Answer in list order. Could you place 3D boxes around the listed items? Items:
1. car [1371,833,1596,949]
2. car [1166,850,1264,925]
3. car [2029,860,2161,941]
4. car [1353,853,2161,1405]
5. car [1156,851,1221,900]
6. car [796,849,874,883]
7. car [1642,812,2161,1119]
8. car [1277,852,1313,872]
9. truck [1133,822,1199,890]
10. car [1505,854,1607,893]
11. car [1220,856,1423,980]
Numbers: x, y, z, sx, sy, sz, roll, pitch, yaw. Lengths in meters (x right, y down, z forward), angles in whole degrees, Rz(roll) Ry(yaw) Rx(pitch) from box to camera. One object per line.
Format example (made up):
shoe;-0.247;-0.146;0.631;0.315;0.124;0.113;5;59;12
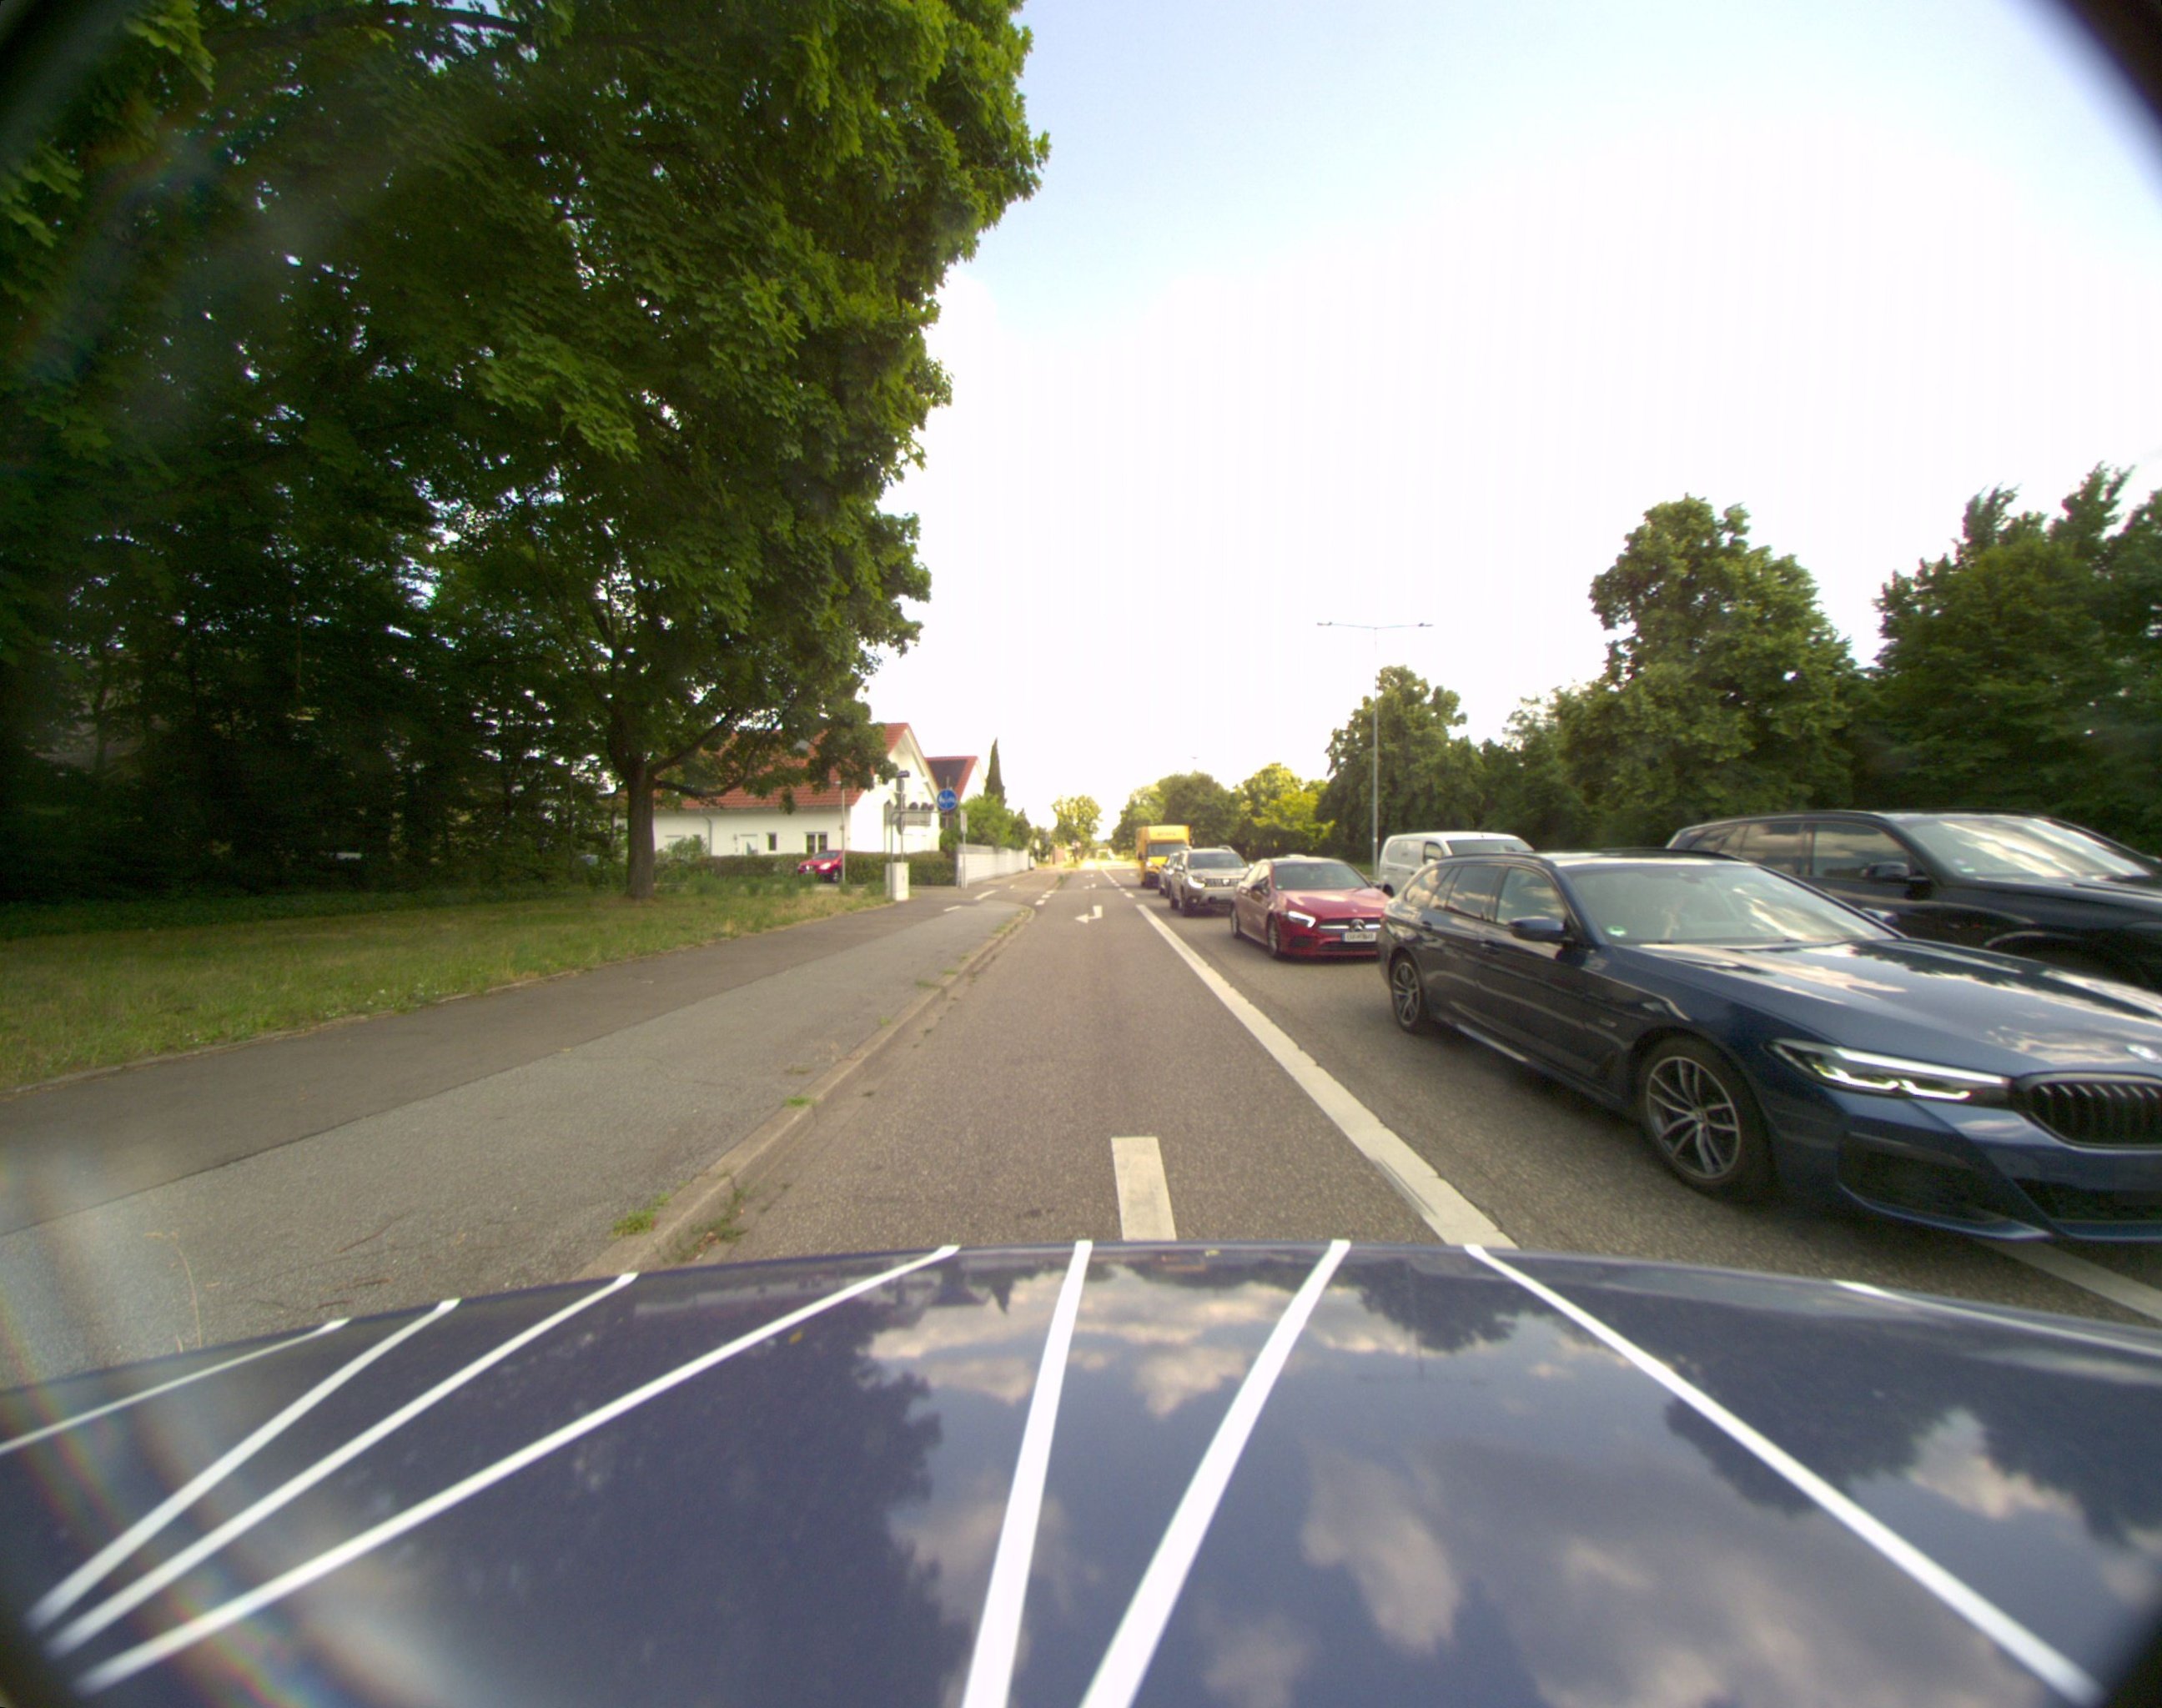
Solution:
car;7.225;0.553;14.302;1.770;1.788;4.730;-1;1;1
car;3.201;0.723;18.965;1.727;1.602;4.175;-1;1;1
car;19.628;0.844;12.941;1.672;1.379;4.237;1;1;1
car;3.425;0.800;4.624;1.801;1.488;4.872;-2;1;1
car;3.683;0.688;26.556;1.727;1.522;3.893;-2;1;1
car;-11.837;0.542;36.852;1.679;1.521;4.397;0;0;11
car;7.030;0.592;6.048;1.817;1.736;4.549;-1;1;1
car;16.659;0.620;59.246;1.672;1.379;3.999;-2;1;1
truck;3.861;0.075;35.947;2.363;2.843;6.966;-2;0;1
car;19.255;0.757;31.008;1.672;1.379;3.999;-2;1;1
car;3.441;0.809;11.811;1.727;1.454;4.535;-2;0;1
